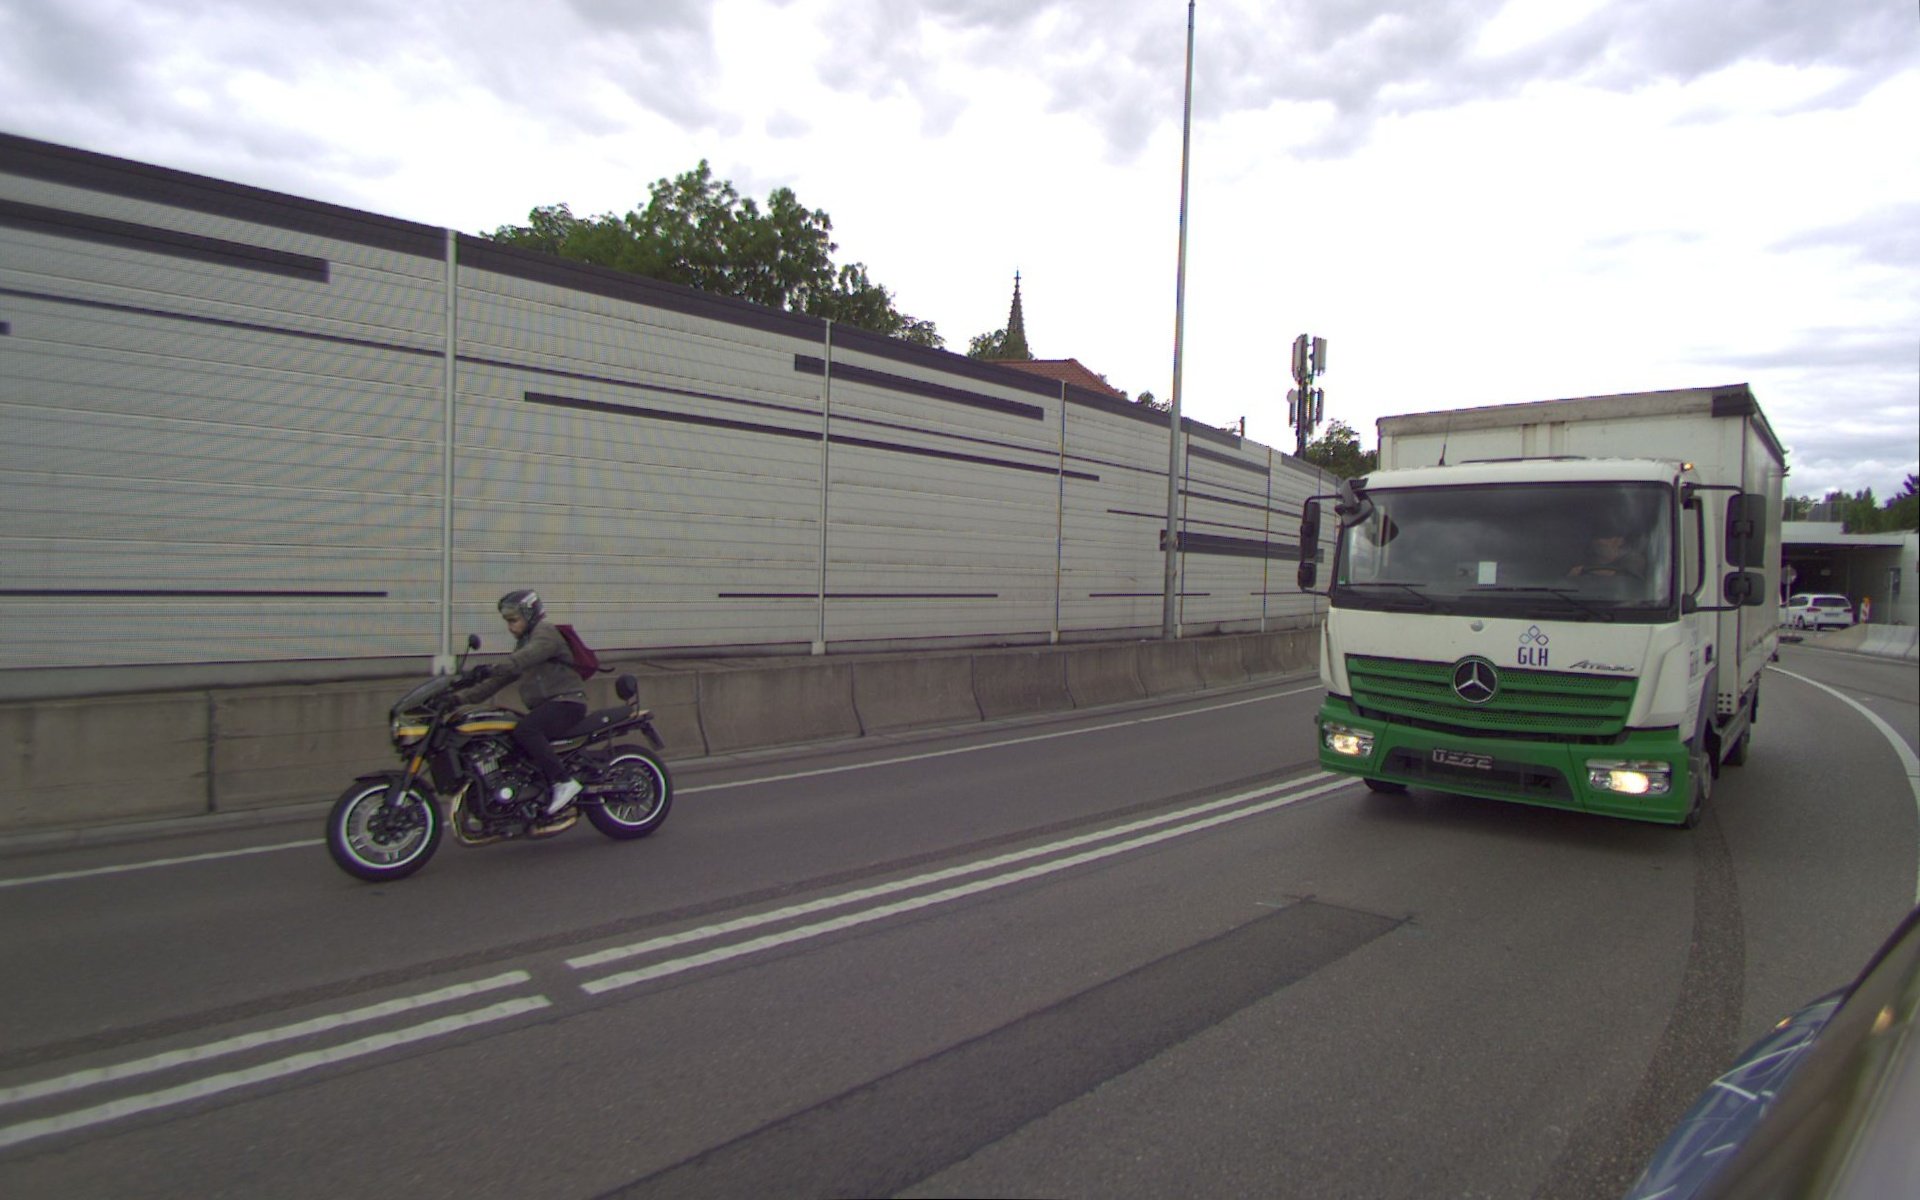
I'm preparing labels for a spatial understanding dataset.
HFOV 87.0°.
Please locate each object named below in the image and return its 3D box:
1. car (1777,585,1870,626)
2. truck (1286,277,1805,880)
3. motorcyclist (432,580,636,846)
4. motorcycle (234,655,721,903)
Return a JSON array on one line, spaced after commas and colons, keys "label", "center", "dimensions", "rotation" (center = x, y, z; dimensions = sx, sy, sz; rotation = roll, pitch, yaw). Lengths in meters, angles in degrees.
[{"label": "car", "center": [41.618, 0.213, 48.914], "dimensions": [1.935, 1.771, 5.232], "rotation": [2, 2, 24]}, {"label": "truck", "center": [5.751, -0.165, 9.129], "dimensions": [2.628, 3.279, 7.304], "rotation": [1, 1, 42]}, {"label": "motorcyclist", "center": [-2.694, 0.638, 6.390], "dimensions": [0.949, 1.495, 0.914], "rotation": [1, 1, -40]}, {"label": "motorcycle", "center": [-2.855, 0.973, 6.268], "dimensions": [2.617, 1.097, 0.745], "rotation": [0, 2, -40]}]
